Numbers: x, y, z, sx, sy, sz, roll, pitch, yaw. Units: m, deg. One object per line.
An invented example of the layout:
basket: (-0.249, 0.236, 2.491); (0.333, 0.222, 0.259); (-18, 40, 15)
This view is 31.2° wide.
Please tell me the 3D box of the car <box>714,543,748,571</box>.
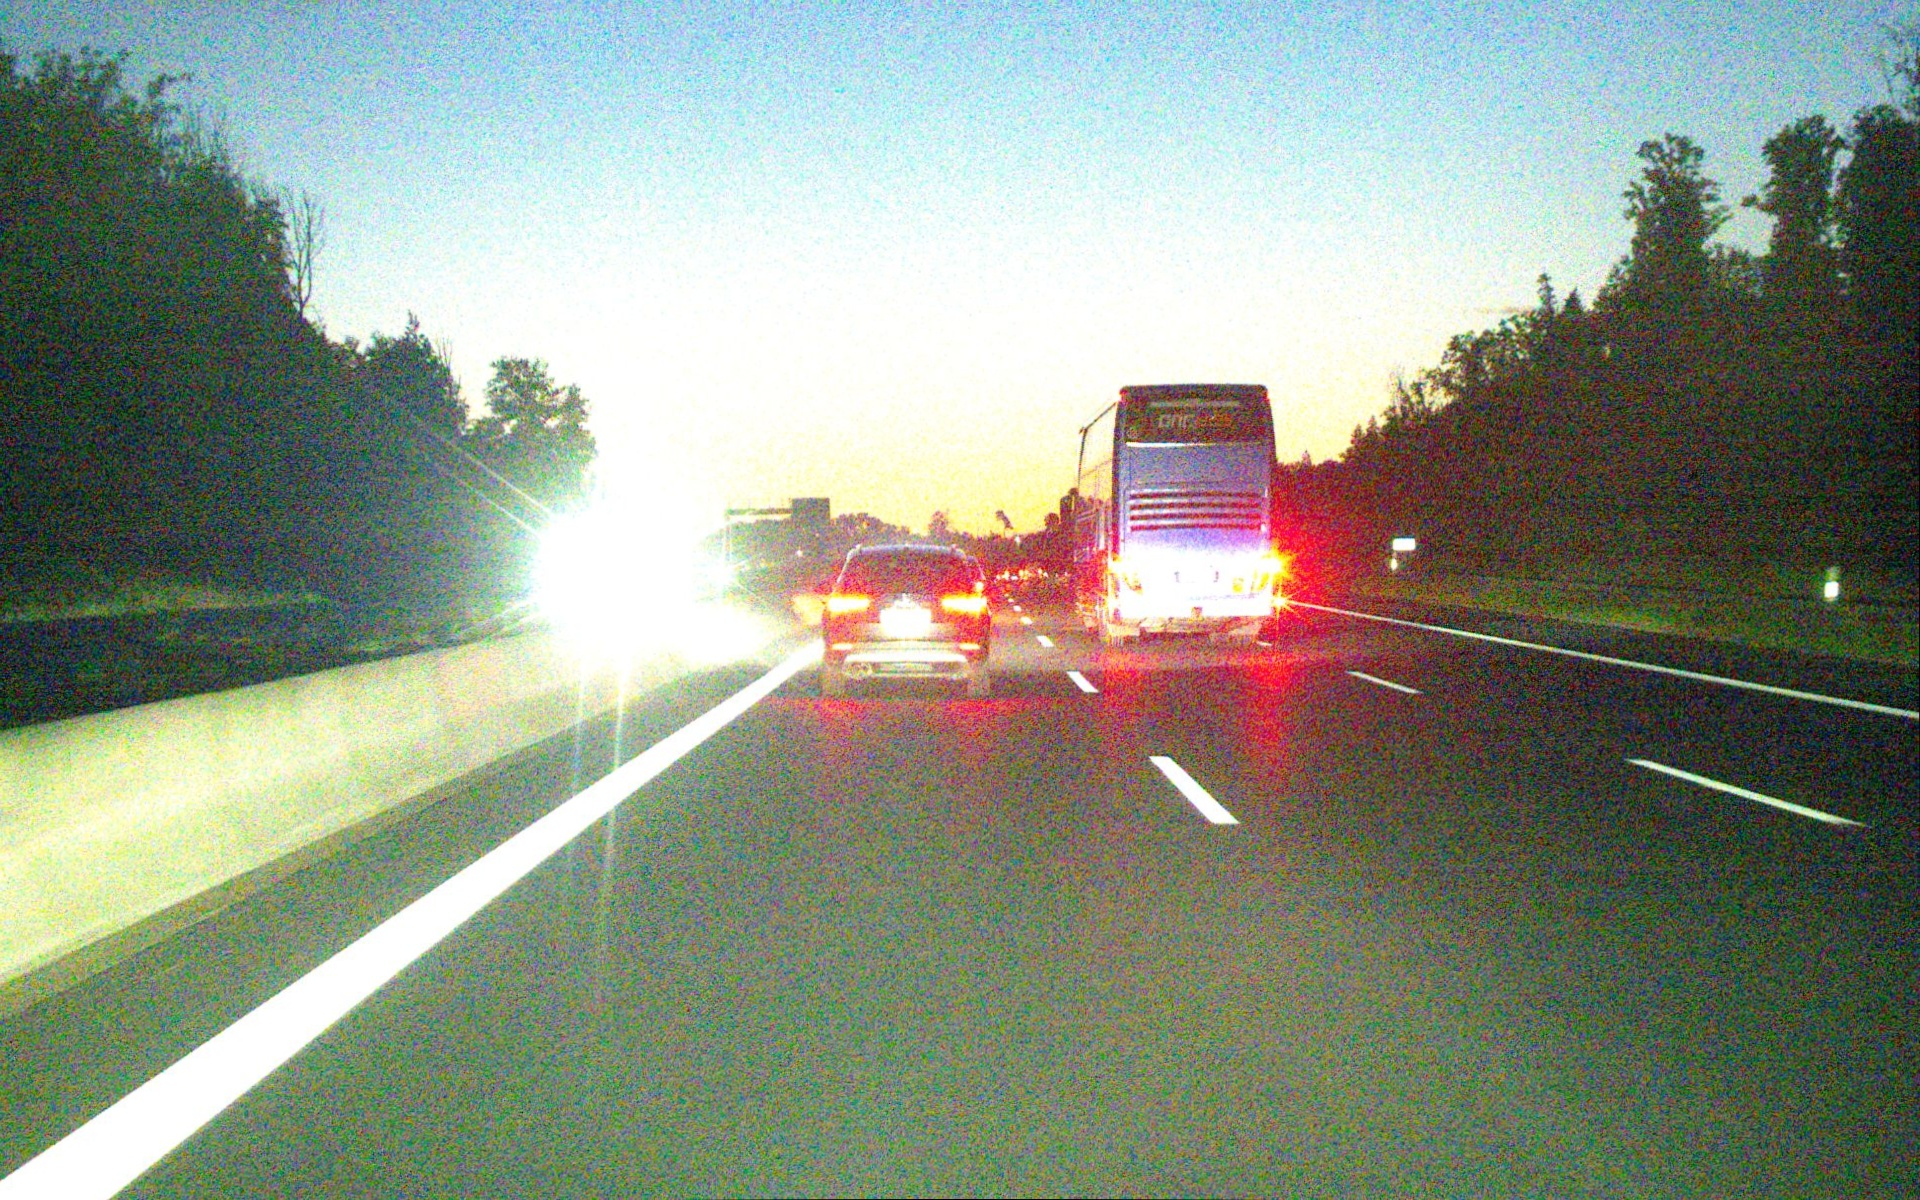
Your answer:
car: (-15.342, -2.887, 230.540); (1.992, 1.770, 5.171); (1, 1, -1)

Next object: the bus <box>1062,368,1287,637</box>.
bus: (3.446, -1.469, 59.095); (2.652, 3.980, 14.702); (-1, 0, -1)

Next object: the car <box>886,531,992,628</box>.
car: (-0.424, -0.377, 65.845); (1.911, 1.724, 4.000); (-2, 0, -1)

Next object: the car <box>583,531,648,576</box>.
car: (-12.405, -1.691, 124.029); (1.933, 1.556, 4.454); (1, 1, -1)

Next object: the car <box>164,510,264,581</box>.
car: (-21.393, -1.558, 98.704); (1.993, 1.919, 4.000); (-2, 0, -1)

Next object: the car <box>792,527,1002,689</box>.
car: (-0.693, 0.084, 37.184); (2.105, 1.612, 4.204); (-1, 0, -1)
